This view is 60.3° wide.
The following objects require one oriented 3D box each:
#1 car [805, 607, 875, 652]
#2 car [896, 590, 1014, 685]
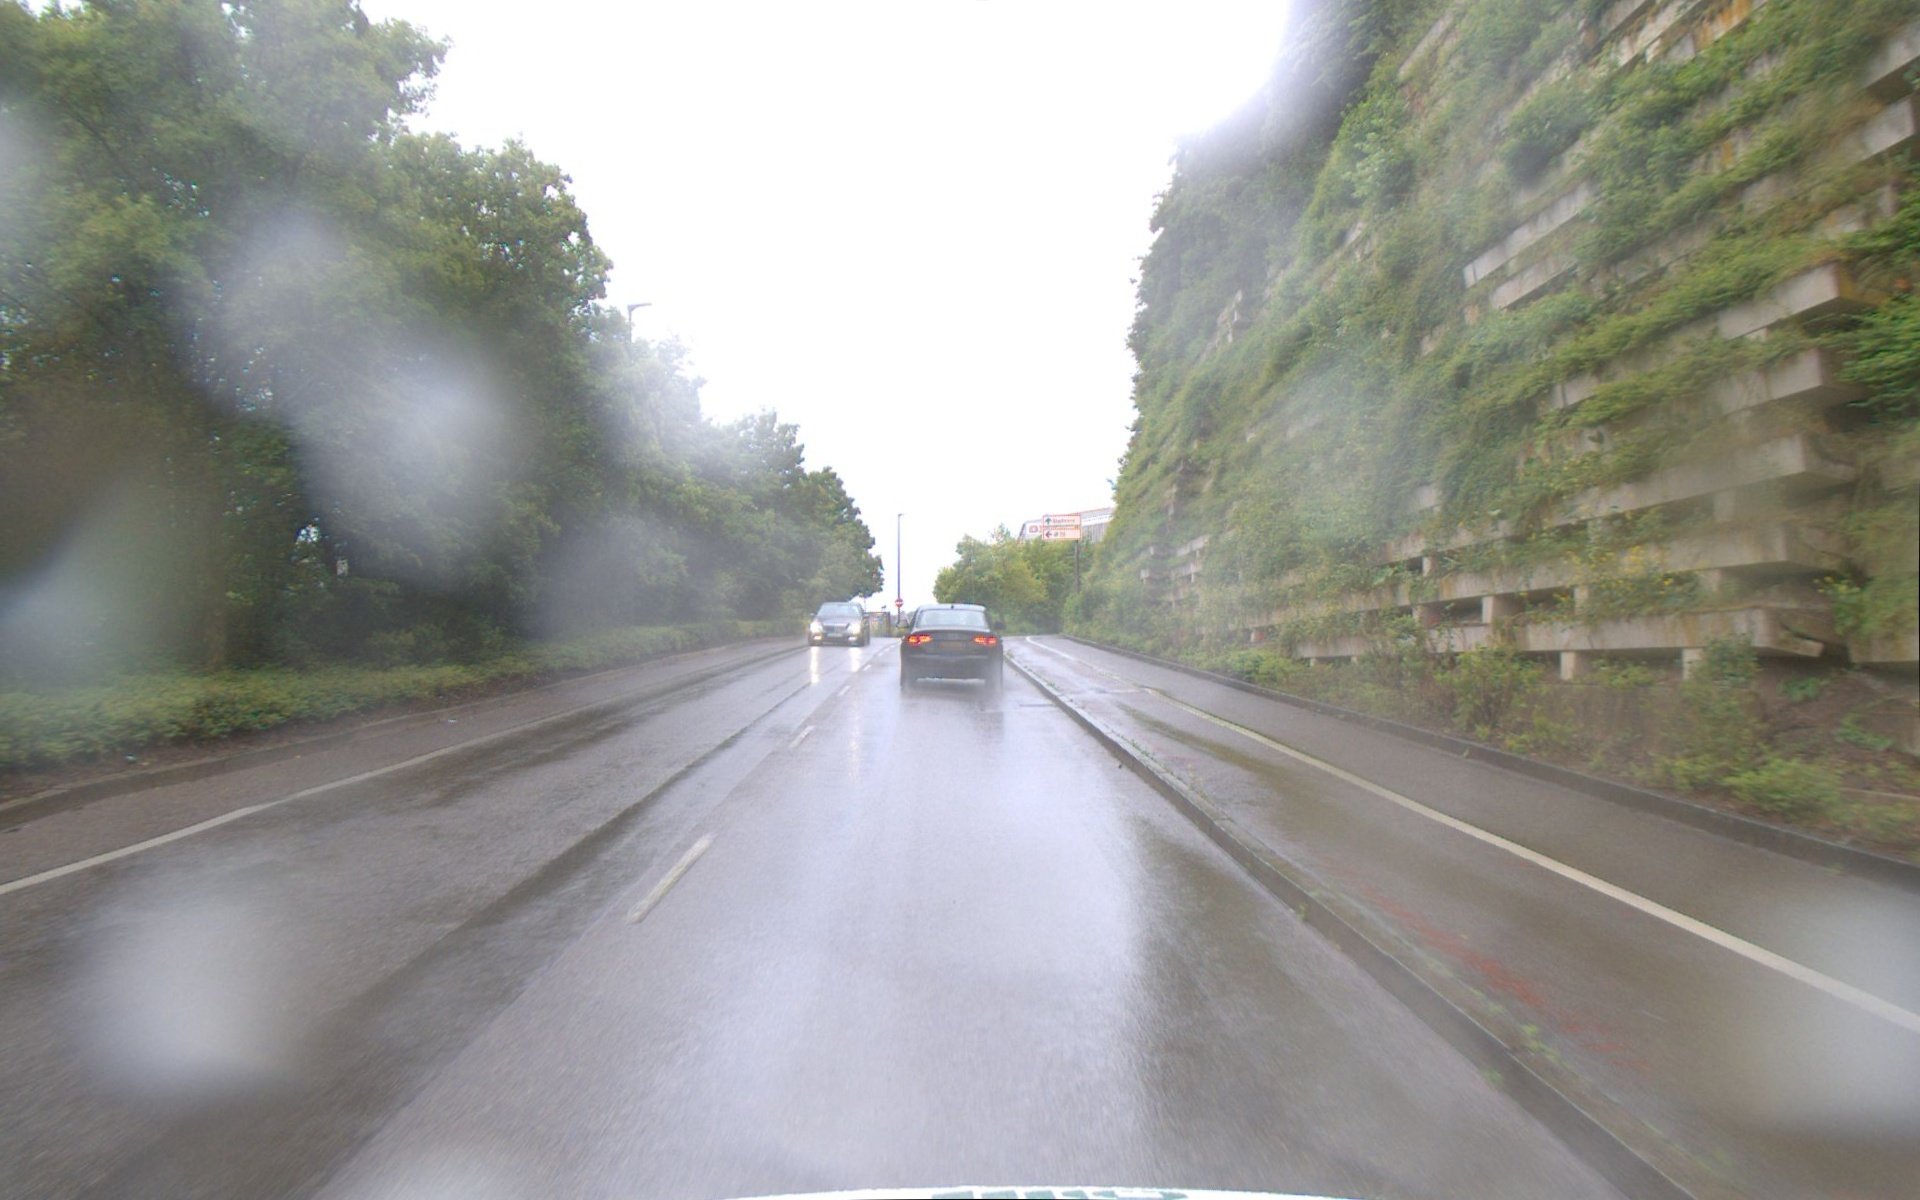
[{"bbox_3d":[-3.917,0.937,54.414,1.952,1.388,4.251,1,0,0],"label":"car"},{"bbox_3d":[-0.013,0.599,28.966,1.853,1.518,4.209,1,0,2],"label":"car"}]
